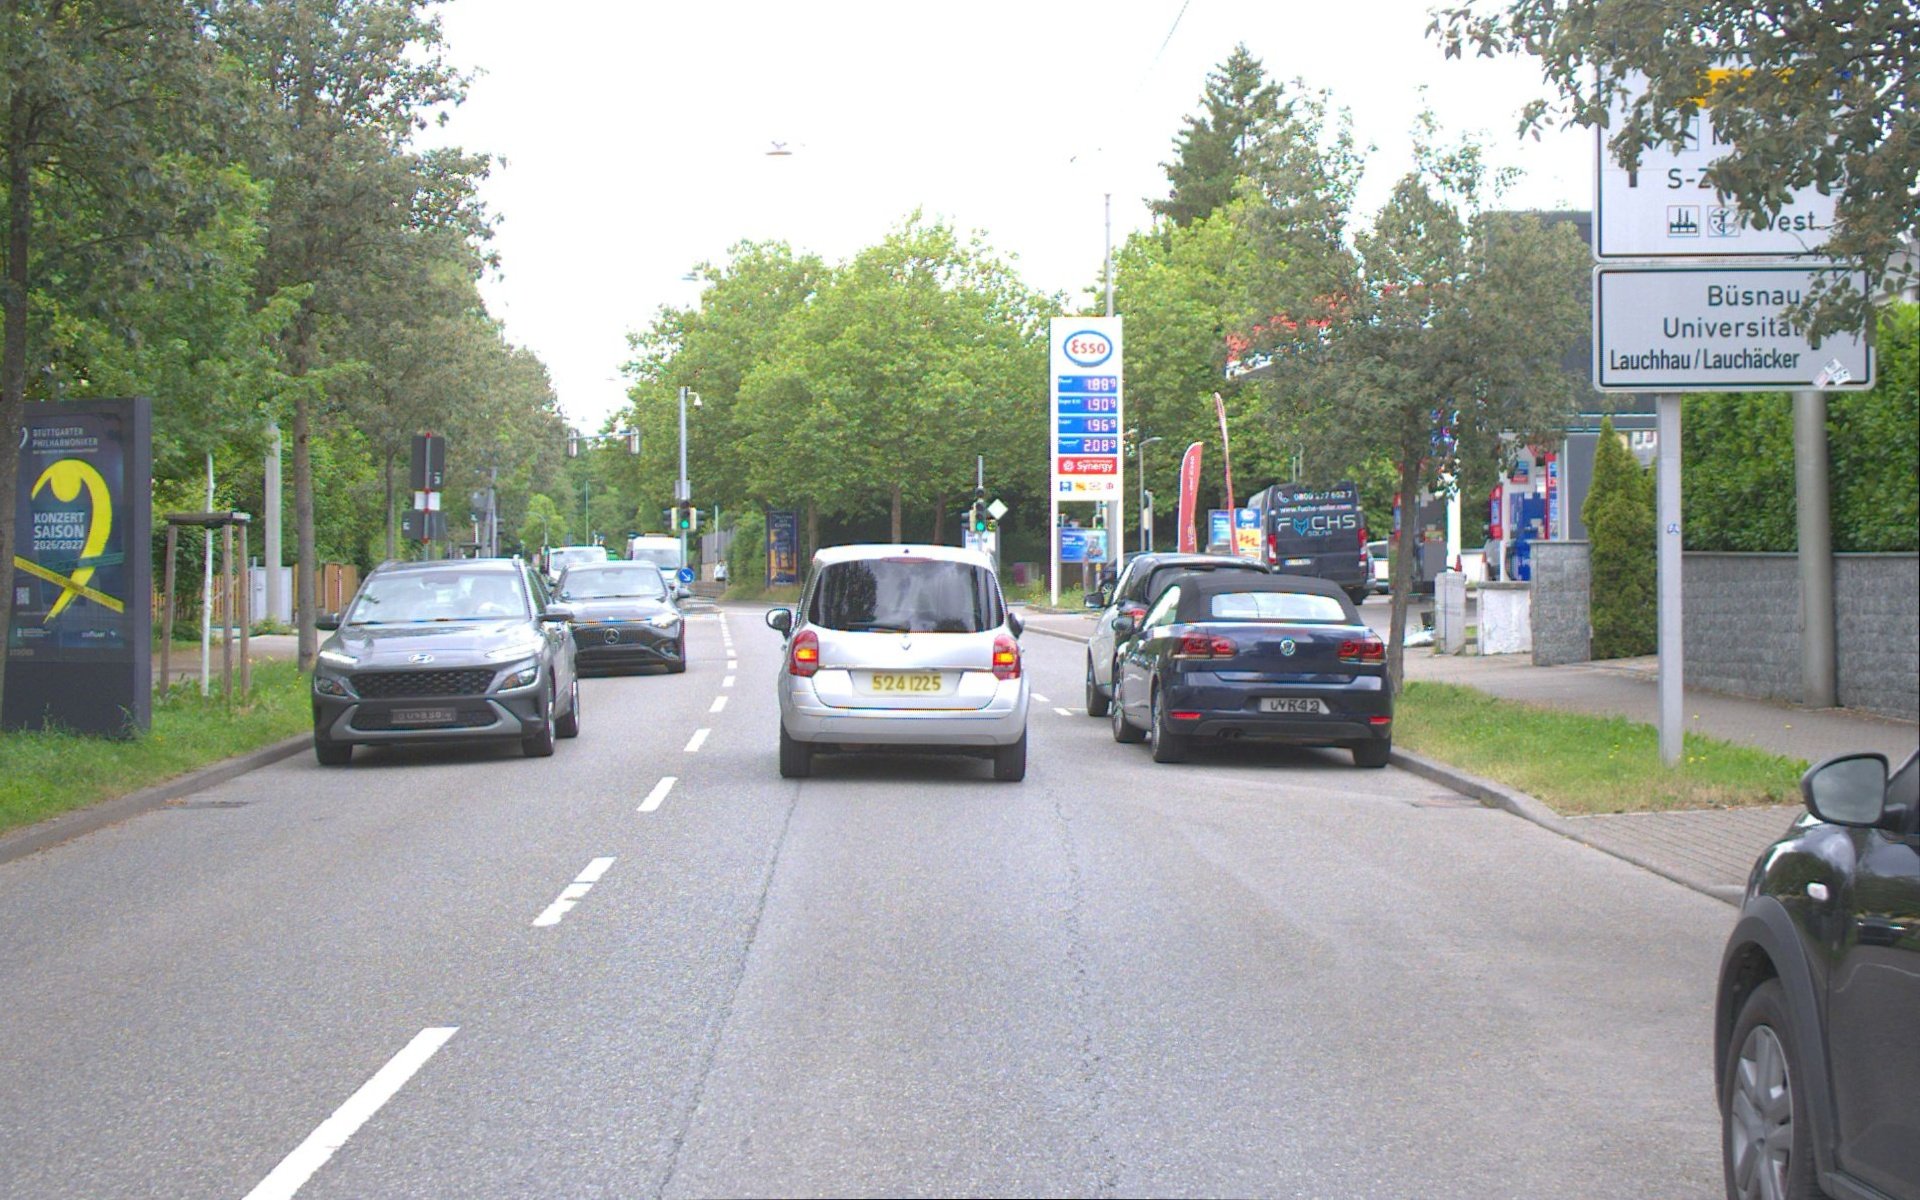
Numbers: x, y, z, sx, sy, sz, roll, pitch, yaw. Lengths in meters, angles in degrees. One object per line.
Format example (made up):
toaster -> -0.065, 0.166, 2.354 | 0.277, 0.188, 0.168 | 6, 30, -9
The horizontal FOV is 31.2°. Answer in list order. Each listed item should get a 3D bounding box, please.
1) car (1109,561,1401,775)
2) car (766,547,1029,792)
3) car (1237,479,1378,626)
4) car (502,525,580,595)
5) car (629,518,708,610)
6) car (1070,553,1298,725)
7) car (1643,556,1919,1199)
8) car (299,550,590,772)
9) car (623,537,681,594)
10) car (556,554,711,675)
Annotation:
car -> 2.188, 0.459, 26.451 | 1.695, 1.501, 3.973 | 0, 1, -3
car -> -0.452, 0.422, 24.002 | 1.679, 1.554, 3.512 | 1, 1, -2
car -> 7.187, -0.979, 71.633 | 2.281, 2.901, 5.279 | 1, 1, -1
car -> -12.149, -1.166, 99.884 | 1.934, 2.007, 4.001 | 0, 1, -3
car -> -7.769, -0.976, 91.869 | 1.934, 2.400, 4.001 | 0, 1, -3
car -> 2.029, 0.313, 32.020 | 1.695, 1.501, 3.645 | 0, 1, -3
car -> 2.549, 0.733, 5.993 | 1.695, 1.565, 3.956 | 2, 1, -3
car -> -4.008, 0.425, 27.264 | 1.793, 1.550, 3.672 | -3, 1, -2
car -> -11.077, -1.242, 123.791 | 1.740, 2.007, 4.000 | 0, 1, -1
car -> -4.198, 0.160, 44.686 | 1.695, 1.501, 3.644 | 0, 1, 0
